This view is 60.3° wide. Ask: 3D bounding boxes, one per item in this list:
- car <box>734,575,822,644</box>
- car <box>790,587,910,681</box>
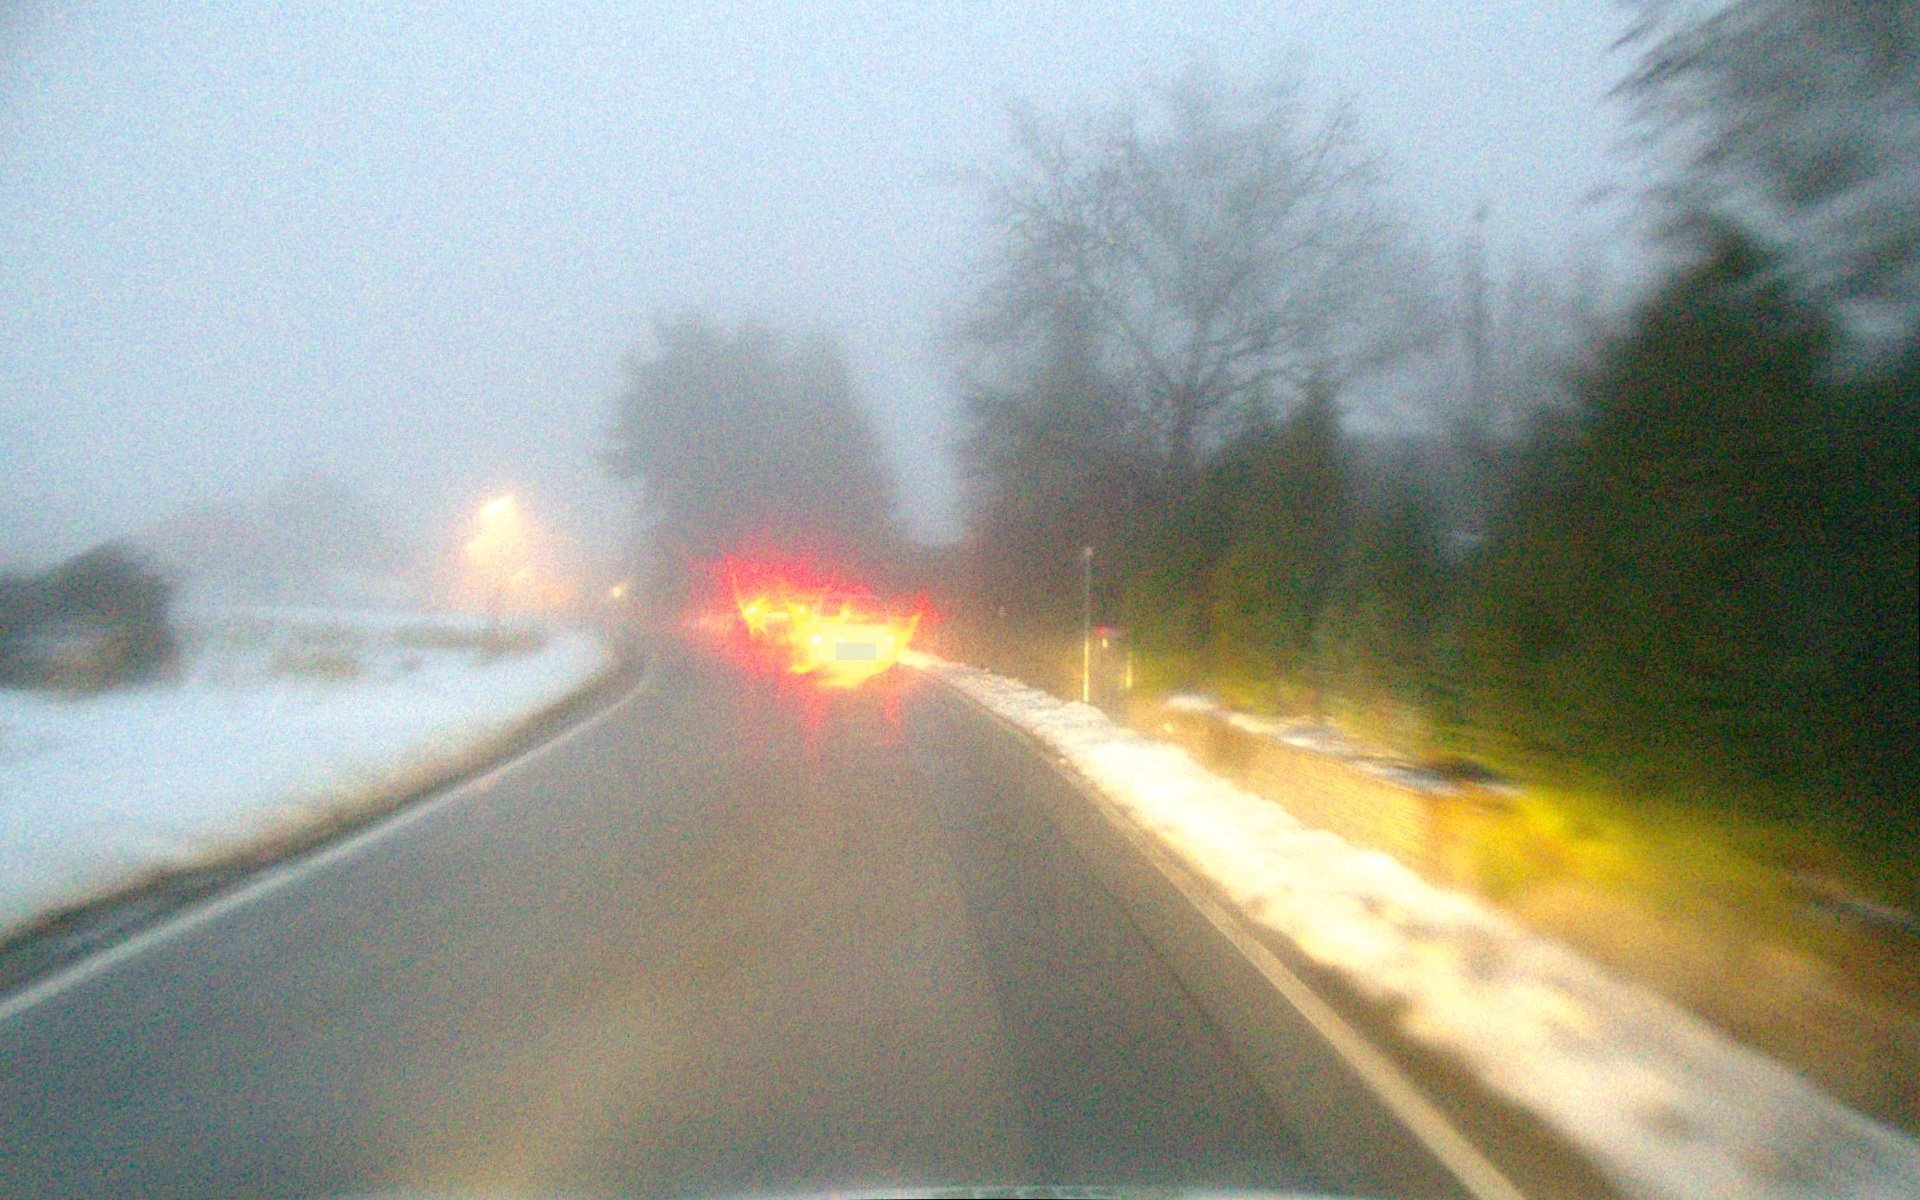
[{"bbox_3d":[-5.016,0.266,45.115,1.959,1.780,3.987,1,-1,-13],"label":"car"},{"bbox_3d":[-1.909,0.582,29.391,1.954,1.534,3.998,1,-1,-3],"label":"car"}]
